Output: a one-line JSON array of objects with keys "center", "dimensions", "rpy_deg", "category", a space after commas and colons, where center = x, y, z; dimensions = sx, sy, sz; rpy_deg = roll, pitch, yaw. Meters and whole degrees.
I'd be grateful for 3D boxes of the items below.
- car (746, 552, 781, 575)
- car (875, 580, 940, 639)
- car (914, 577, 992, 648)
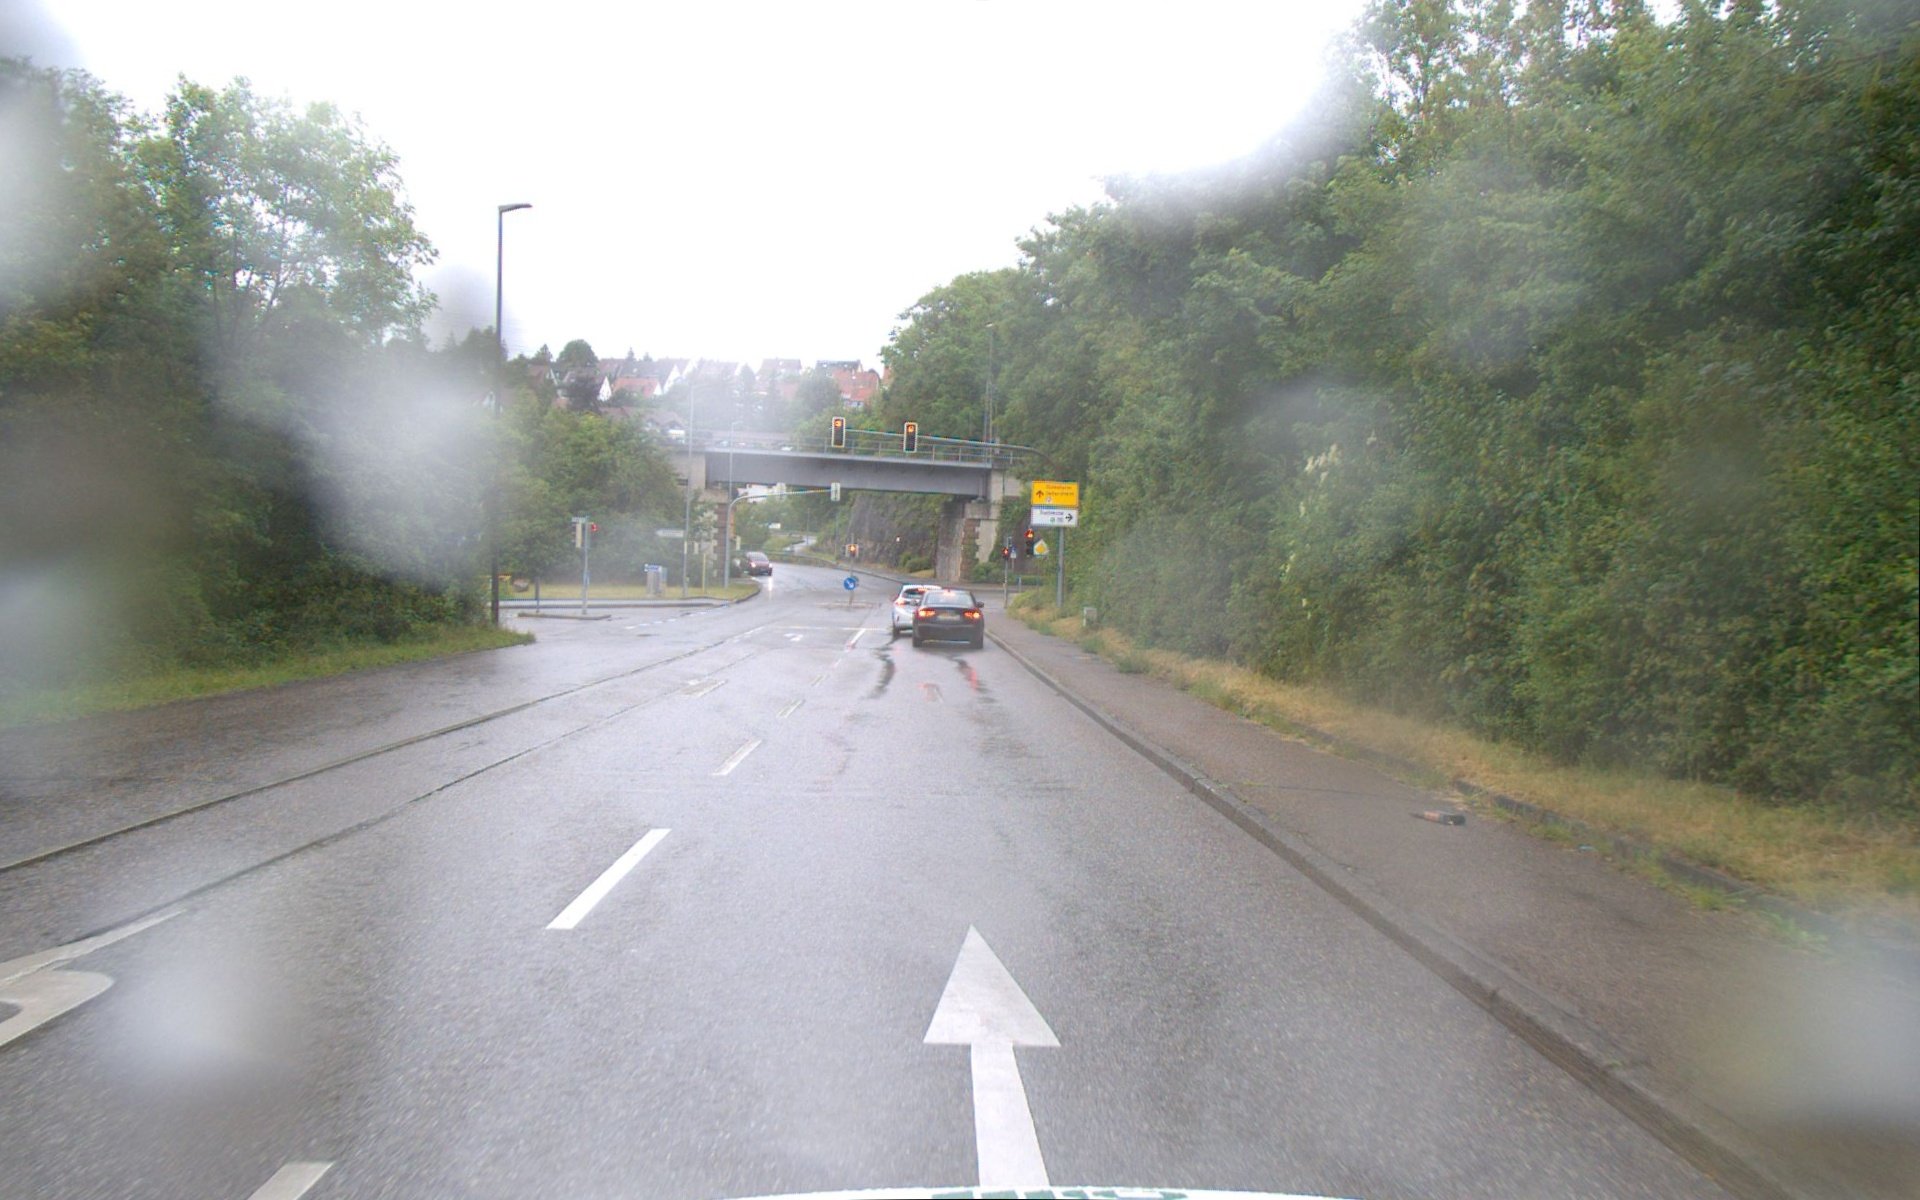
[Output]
[{"center": [-15.670, -2.876, 131.823], "dimensions": [1.964, 1.657, 3.977], "rpy_deg": [0, -1, -19], "category": "car"}, {"center": [-1.532, 0.276, 48.375], "dimensions": [1.786, 1.613, 3.999], "rpy_deg": [1, 0, -2], "category": "car"}, {"center": [-0.214, 0.283, 41.293], "dimensions": [1.832, 1.645, 3.999], "rpy_deg": [1, 0, -1], "category": "car"}]
